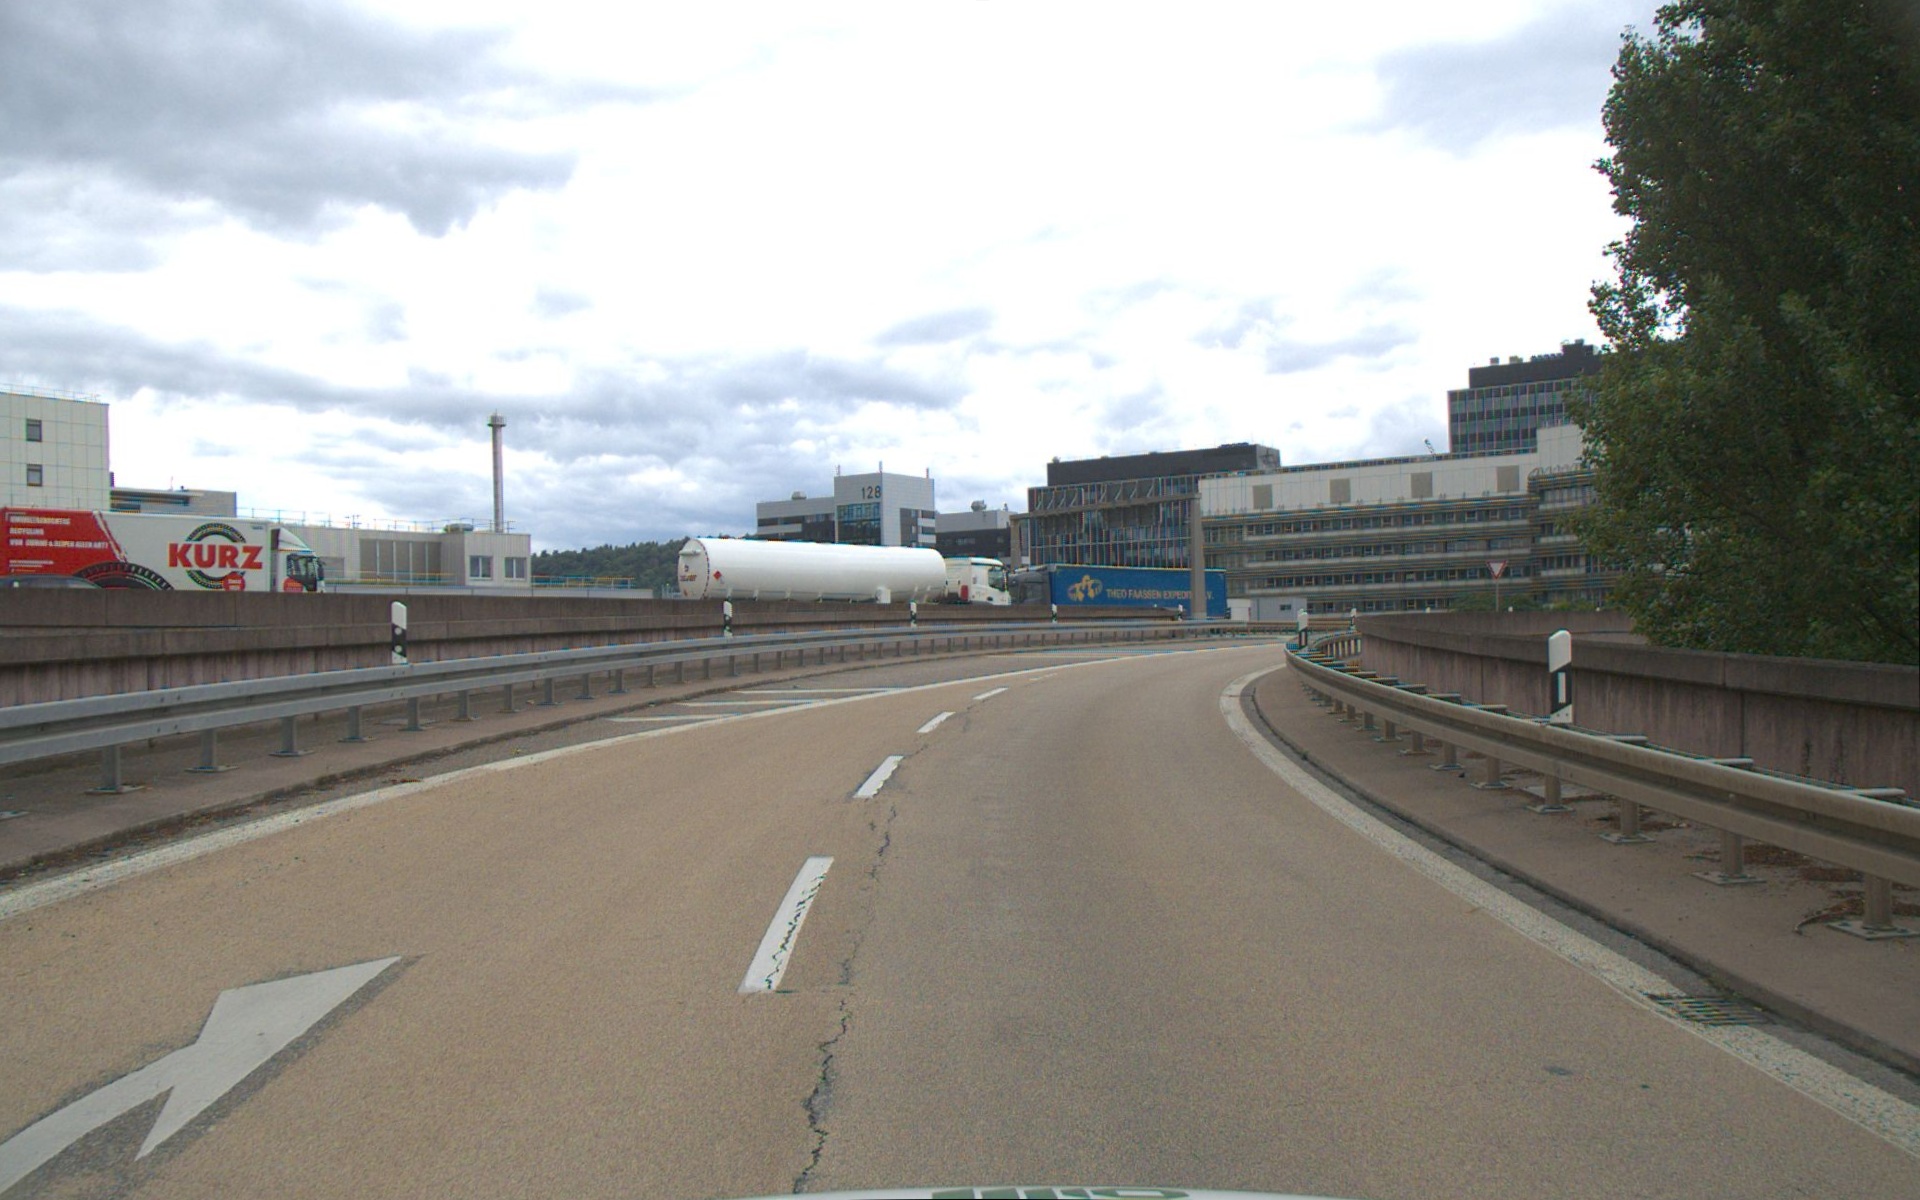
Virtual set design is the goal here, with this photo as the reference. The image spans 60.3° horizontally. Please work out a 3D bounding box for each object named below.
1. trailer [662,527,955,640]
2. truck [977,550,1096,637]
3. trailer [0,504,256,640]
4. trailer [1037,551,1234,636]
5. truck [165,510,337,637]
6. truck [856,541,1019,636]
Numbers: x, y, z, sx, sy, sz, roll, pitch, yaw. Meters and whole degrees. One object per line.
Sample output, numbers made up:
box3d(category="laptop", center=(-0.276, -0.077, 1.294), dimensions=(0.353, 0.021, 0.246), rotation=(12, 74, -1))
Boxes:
box3d(category="trailer", center=(-5.320, -0.556, 60.409), dimensions=(11.047, 3.803, 2.761), rotation=(0, -2, -40))
box3d(category="truck", center=(4.054, -0.315, 87.490), dimensions=(5.637, 4.423, 3.128), rotation=(0, -2, -39))
box3d(category="trailer", center=(-25.119, -0.761, 49.216), dimensions=(7.245, 3.755, 2.660), rotation=(0, -2, -40))
box3d(category="trailer", center=(9.961, -0.337, 92.338), dimensions=(12.396, 4.423, 3.126), rotation=(0, -2, -40))
box3d(category="truck", center=(-22.170, -0.773, 51.734), dimensions=(4.397, 3.755, 2.661), rotation=(0, -2, -40))
box3d(category="truck", center=(-0.840, -0.421, 64.157), dimensions=(5.908, 3.491, 2.738), rotation=(0, -2, -40))
